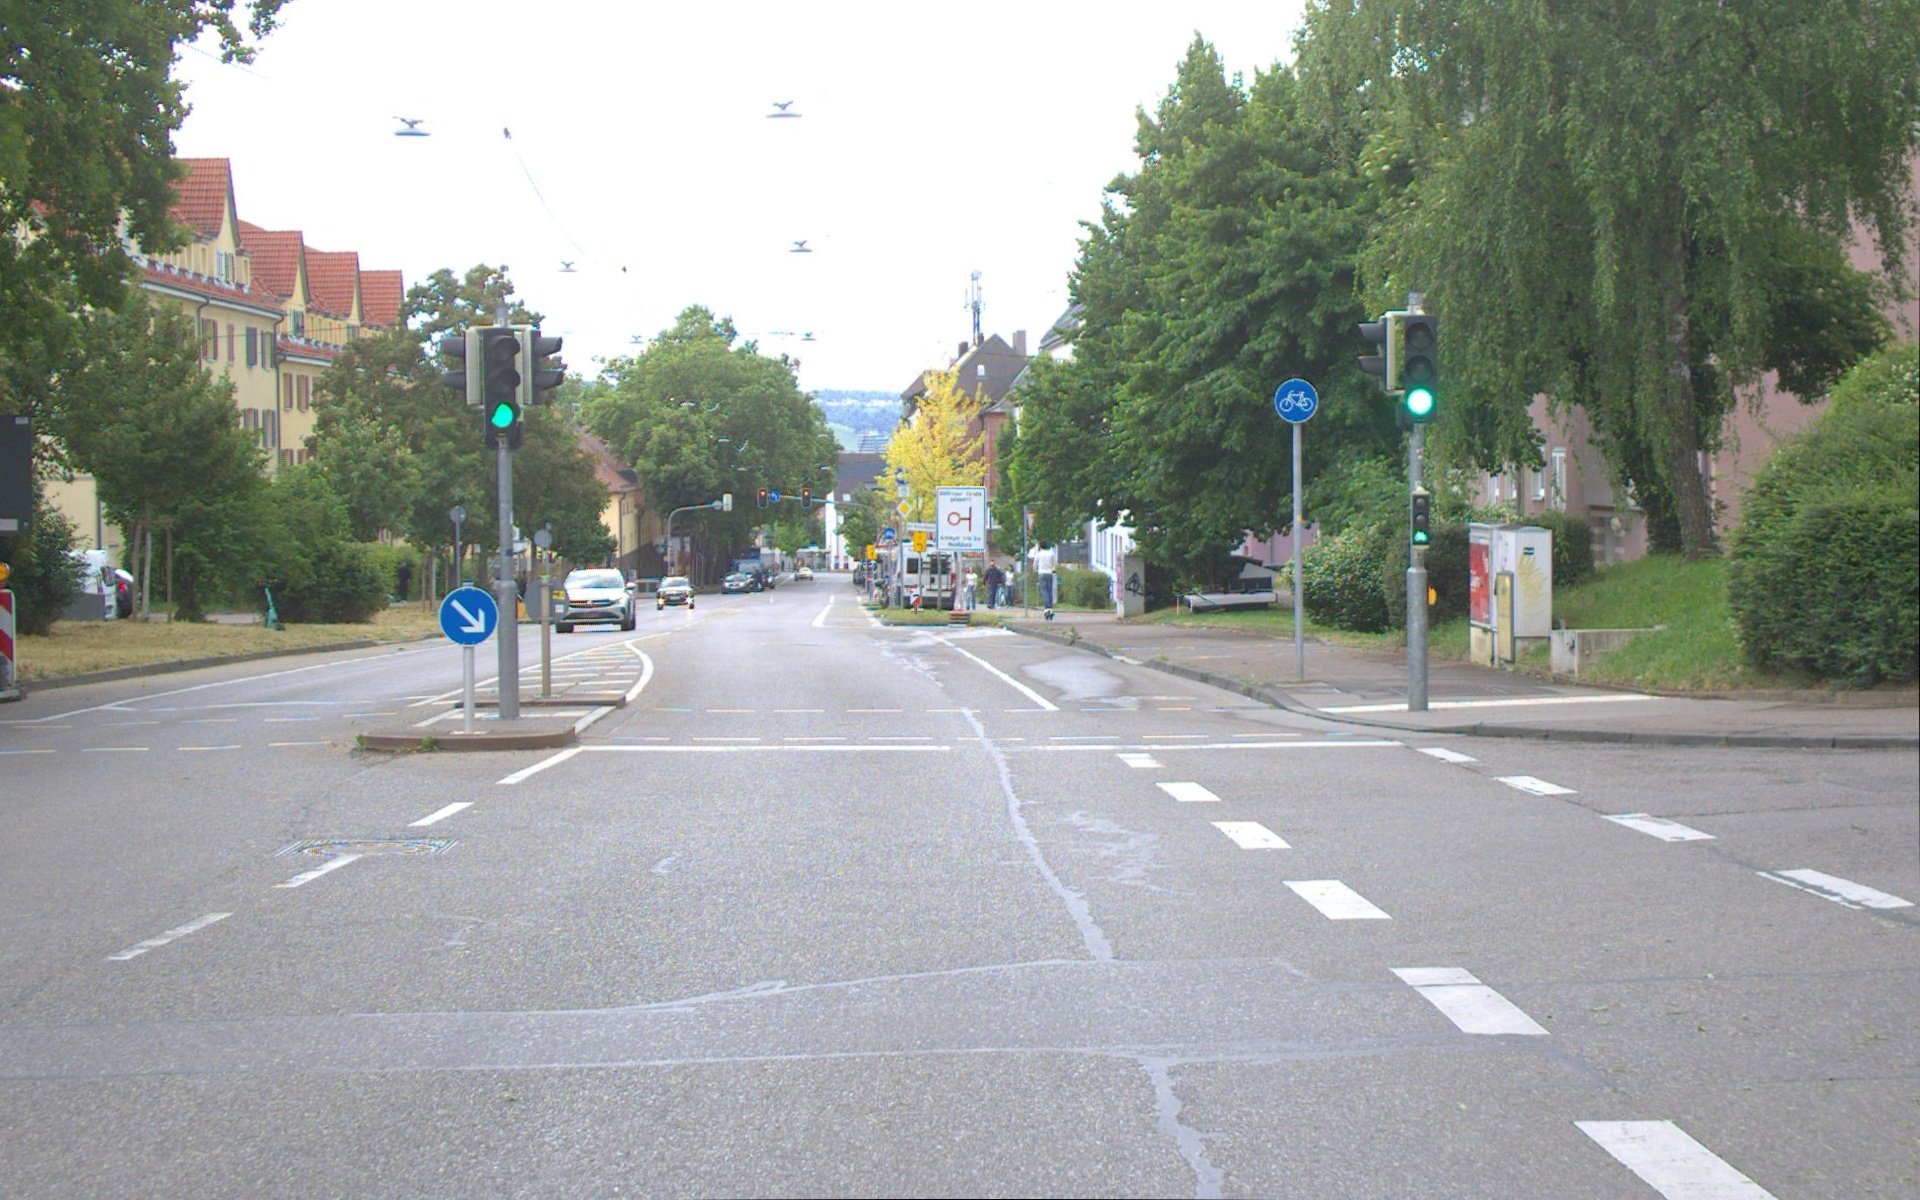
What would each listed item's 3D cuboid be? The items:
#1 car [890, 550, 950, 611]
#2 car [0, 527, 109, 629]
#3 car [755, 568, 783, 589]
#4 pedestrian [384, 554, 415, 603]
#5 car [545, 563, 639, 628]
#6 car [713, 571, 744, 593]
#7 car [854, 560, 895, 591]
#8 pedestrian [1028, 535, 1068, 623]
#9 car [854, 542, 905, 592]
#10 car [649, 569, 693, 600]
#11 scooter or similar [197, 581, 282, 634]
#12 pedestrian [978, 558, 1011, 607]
[{"bbox_3d":[-1.344,-0.661,116.111,1.993,2.007,4.000,0,0,-1],"label":"car"},{"bbox_3d":[-15.589,-0.360,55.155,3.448,1.590,2.000,0,0,-3],"label":"car"},{"bbox_3d":[-13.969,-1.604,251.583,1.993,1.500,4.000,0,0,-3],"label":"car"},{"bbox_3d":[-23.164,-0.888,142.163,1.185,2.007,0.979,0,0,-5],"label":"pedestrian"},{"bbox_3d":[-8.777,-0.115,82.301,1.993,1.500,4.000,0,0,-3],"label":"car"},{"bbox_3d":[-15.406,-1.203,229.144,1.993,1.500,4.000,0,0,-3],"label":"car"},{"bbox_3d":[-4.629,-1.337,185.877,1.993,1.650,4.001,0,0,-5],"label":"car"},{"bbox_3d":[2.237,-0.528,87.151,0.990,2.200,0.938,0,0,2],"label":"pedestrian"},{"bbox_3d":[-3.506,-1.430,149.375,1.993,2.165,4.001,0,0,-5],"label":"car"},{"bbox_3d":[-14.350,-0.778,170.733,1.993,1.500,4.000,0,0,-3],"label":"car"},{"bbox_3d":[-14.949,0.153,71.400,1.692,1.079,0.747,0,0,-9],"label":"scooter or similar"},{"bbox_3d":[1.291,-0.649,128.909,1.200,1.804,1.301,0,0,-1],"label":"pedestrian"}]
